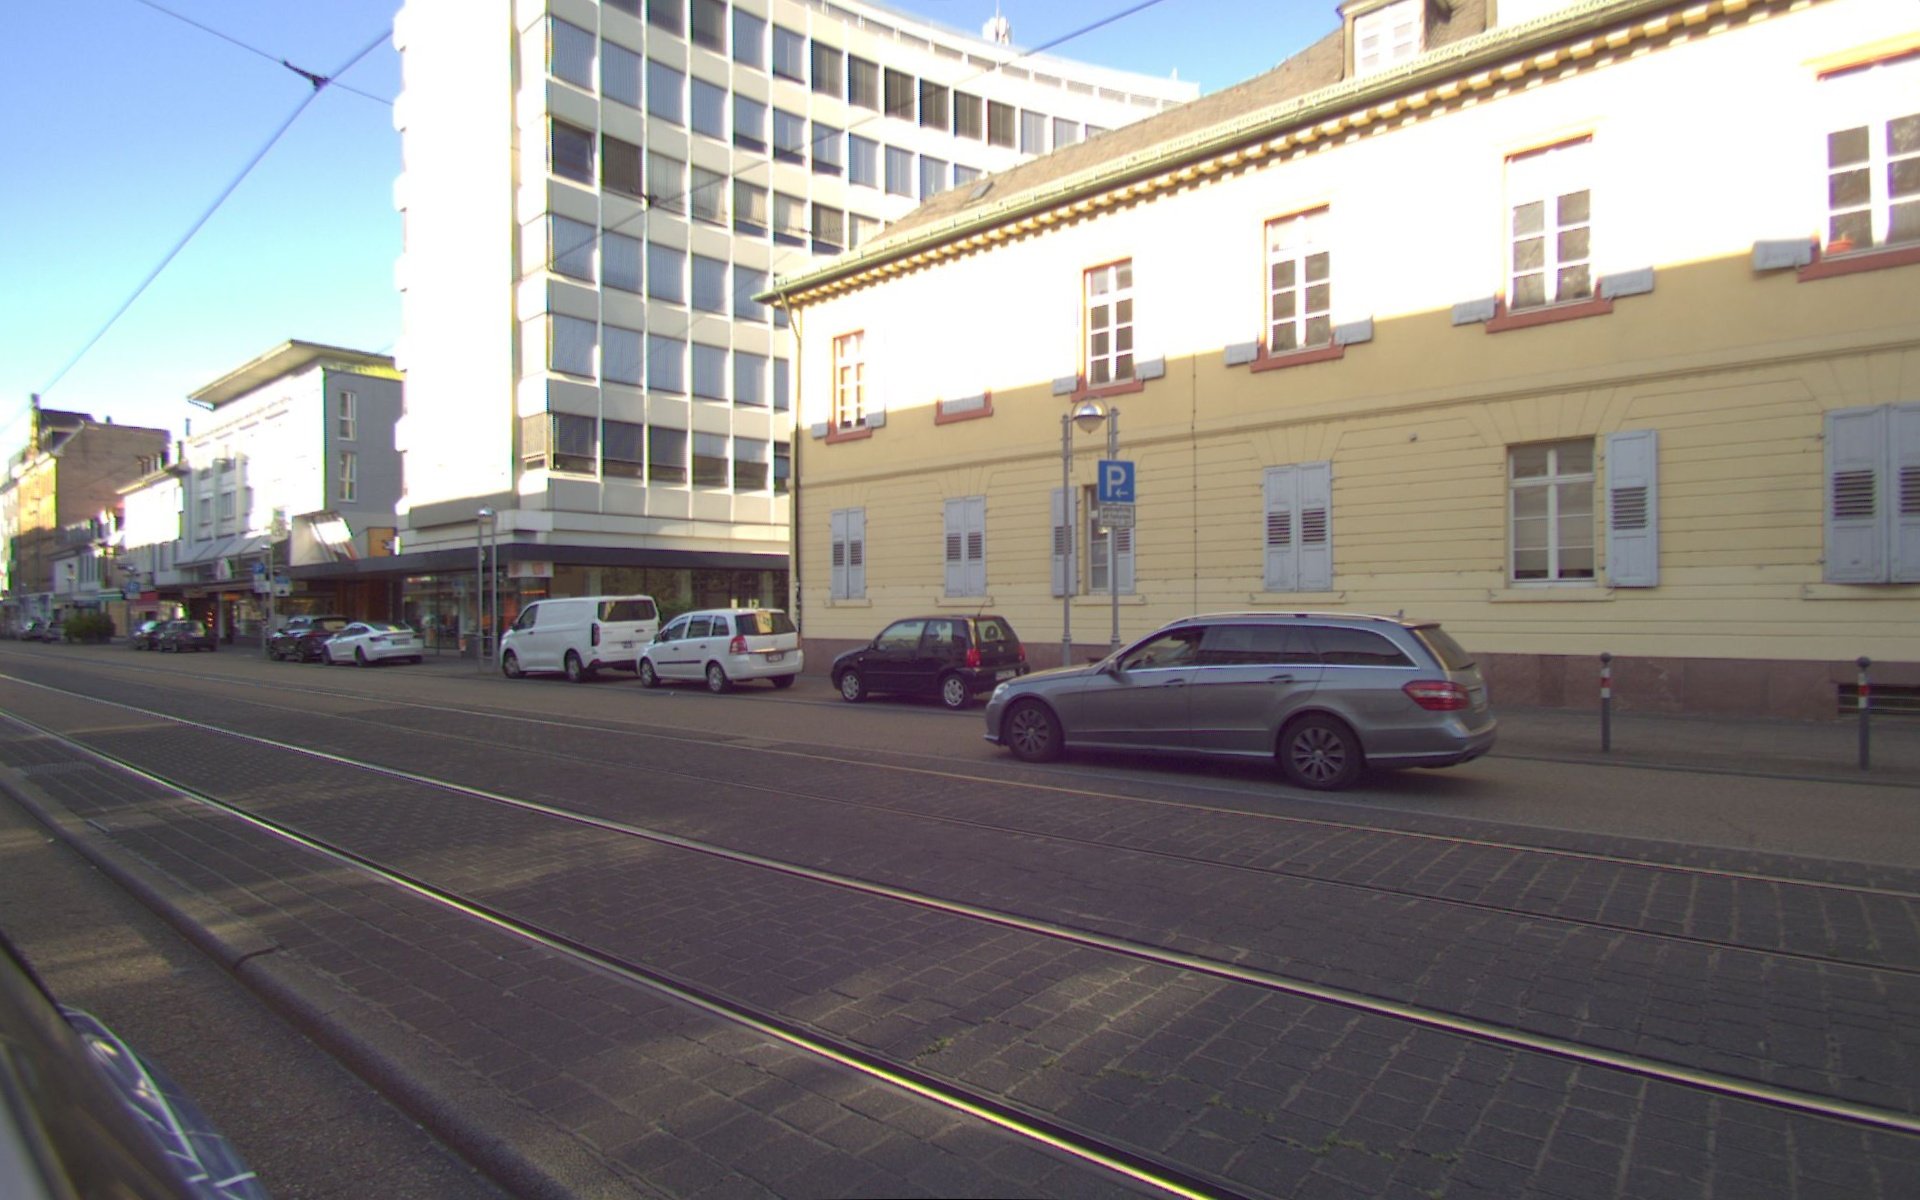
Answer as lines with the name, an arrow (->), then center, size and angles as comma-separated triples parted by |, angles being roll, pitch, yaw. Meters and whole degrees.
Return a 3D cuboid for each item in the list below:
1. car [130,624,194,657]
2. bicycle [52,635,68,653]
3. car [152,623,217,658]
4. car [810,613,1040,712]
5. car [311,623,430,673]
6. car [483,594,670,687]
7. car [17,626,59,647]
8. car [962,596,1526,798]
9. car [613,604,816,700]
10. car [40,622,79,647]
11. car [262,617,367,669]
car -> -41.441, 2.081, 52.501 | 4.849, 1.535, 1.719 | -1, 1, 41
bicycle -> -58.585, 2.872, 65.855 | 1.715, 1.098, 0.513 | -1, 1, 41
car -> -37.114, 1.899, 48.395 | 3.584, 1.535, 1.586 | -1, 1, 38
car -> -0.649, 0.969, 16.902 | 3.717, 1.411, 1.598 | -1, 1, 40
car -> -19.496, 1.519, 33.373 | 4.651, 1.431, 1.870 | -1, 1, 39
car -> -9.411, 0.913, 24.623 | 5.092, 1.990, 1.974 | -1, 1, 40
car -> -70.543, 2.753, 77.401 | 4.759, 1.525, 1.799 | -1, 0, 41
car -> 2.542, 0.798, 9.781 | 4.920, 1.507, 1.863 | -1, -3, 36
car -> -5.156, 0.985, 20.899 | 4.648, 1.698, 1.788 | -1, 1, 43
car -> -63.314, 2.425, 71.151 | 2.889, 1.616, 1.680 | -1, 1, 40
car -> -23.531, 1.496, 36.810 | 4.652, 1.691, 1.958 | -1, 1, 41
